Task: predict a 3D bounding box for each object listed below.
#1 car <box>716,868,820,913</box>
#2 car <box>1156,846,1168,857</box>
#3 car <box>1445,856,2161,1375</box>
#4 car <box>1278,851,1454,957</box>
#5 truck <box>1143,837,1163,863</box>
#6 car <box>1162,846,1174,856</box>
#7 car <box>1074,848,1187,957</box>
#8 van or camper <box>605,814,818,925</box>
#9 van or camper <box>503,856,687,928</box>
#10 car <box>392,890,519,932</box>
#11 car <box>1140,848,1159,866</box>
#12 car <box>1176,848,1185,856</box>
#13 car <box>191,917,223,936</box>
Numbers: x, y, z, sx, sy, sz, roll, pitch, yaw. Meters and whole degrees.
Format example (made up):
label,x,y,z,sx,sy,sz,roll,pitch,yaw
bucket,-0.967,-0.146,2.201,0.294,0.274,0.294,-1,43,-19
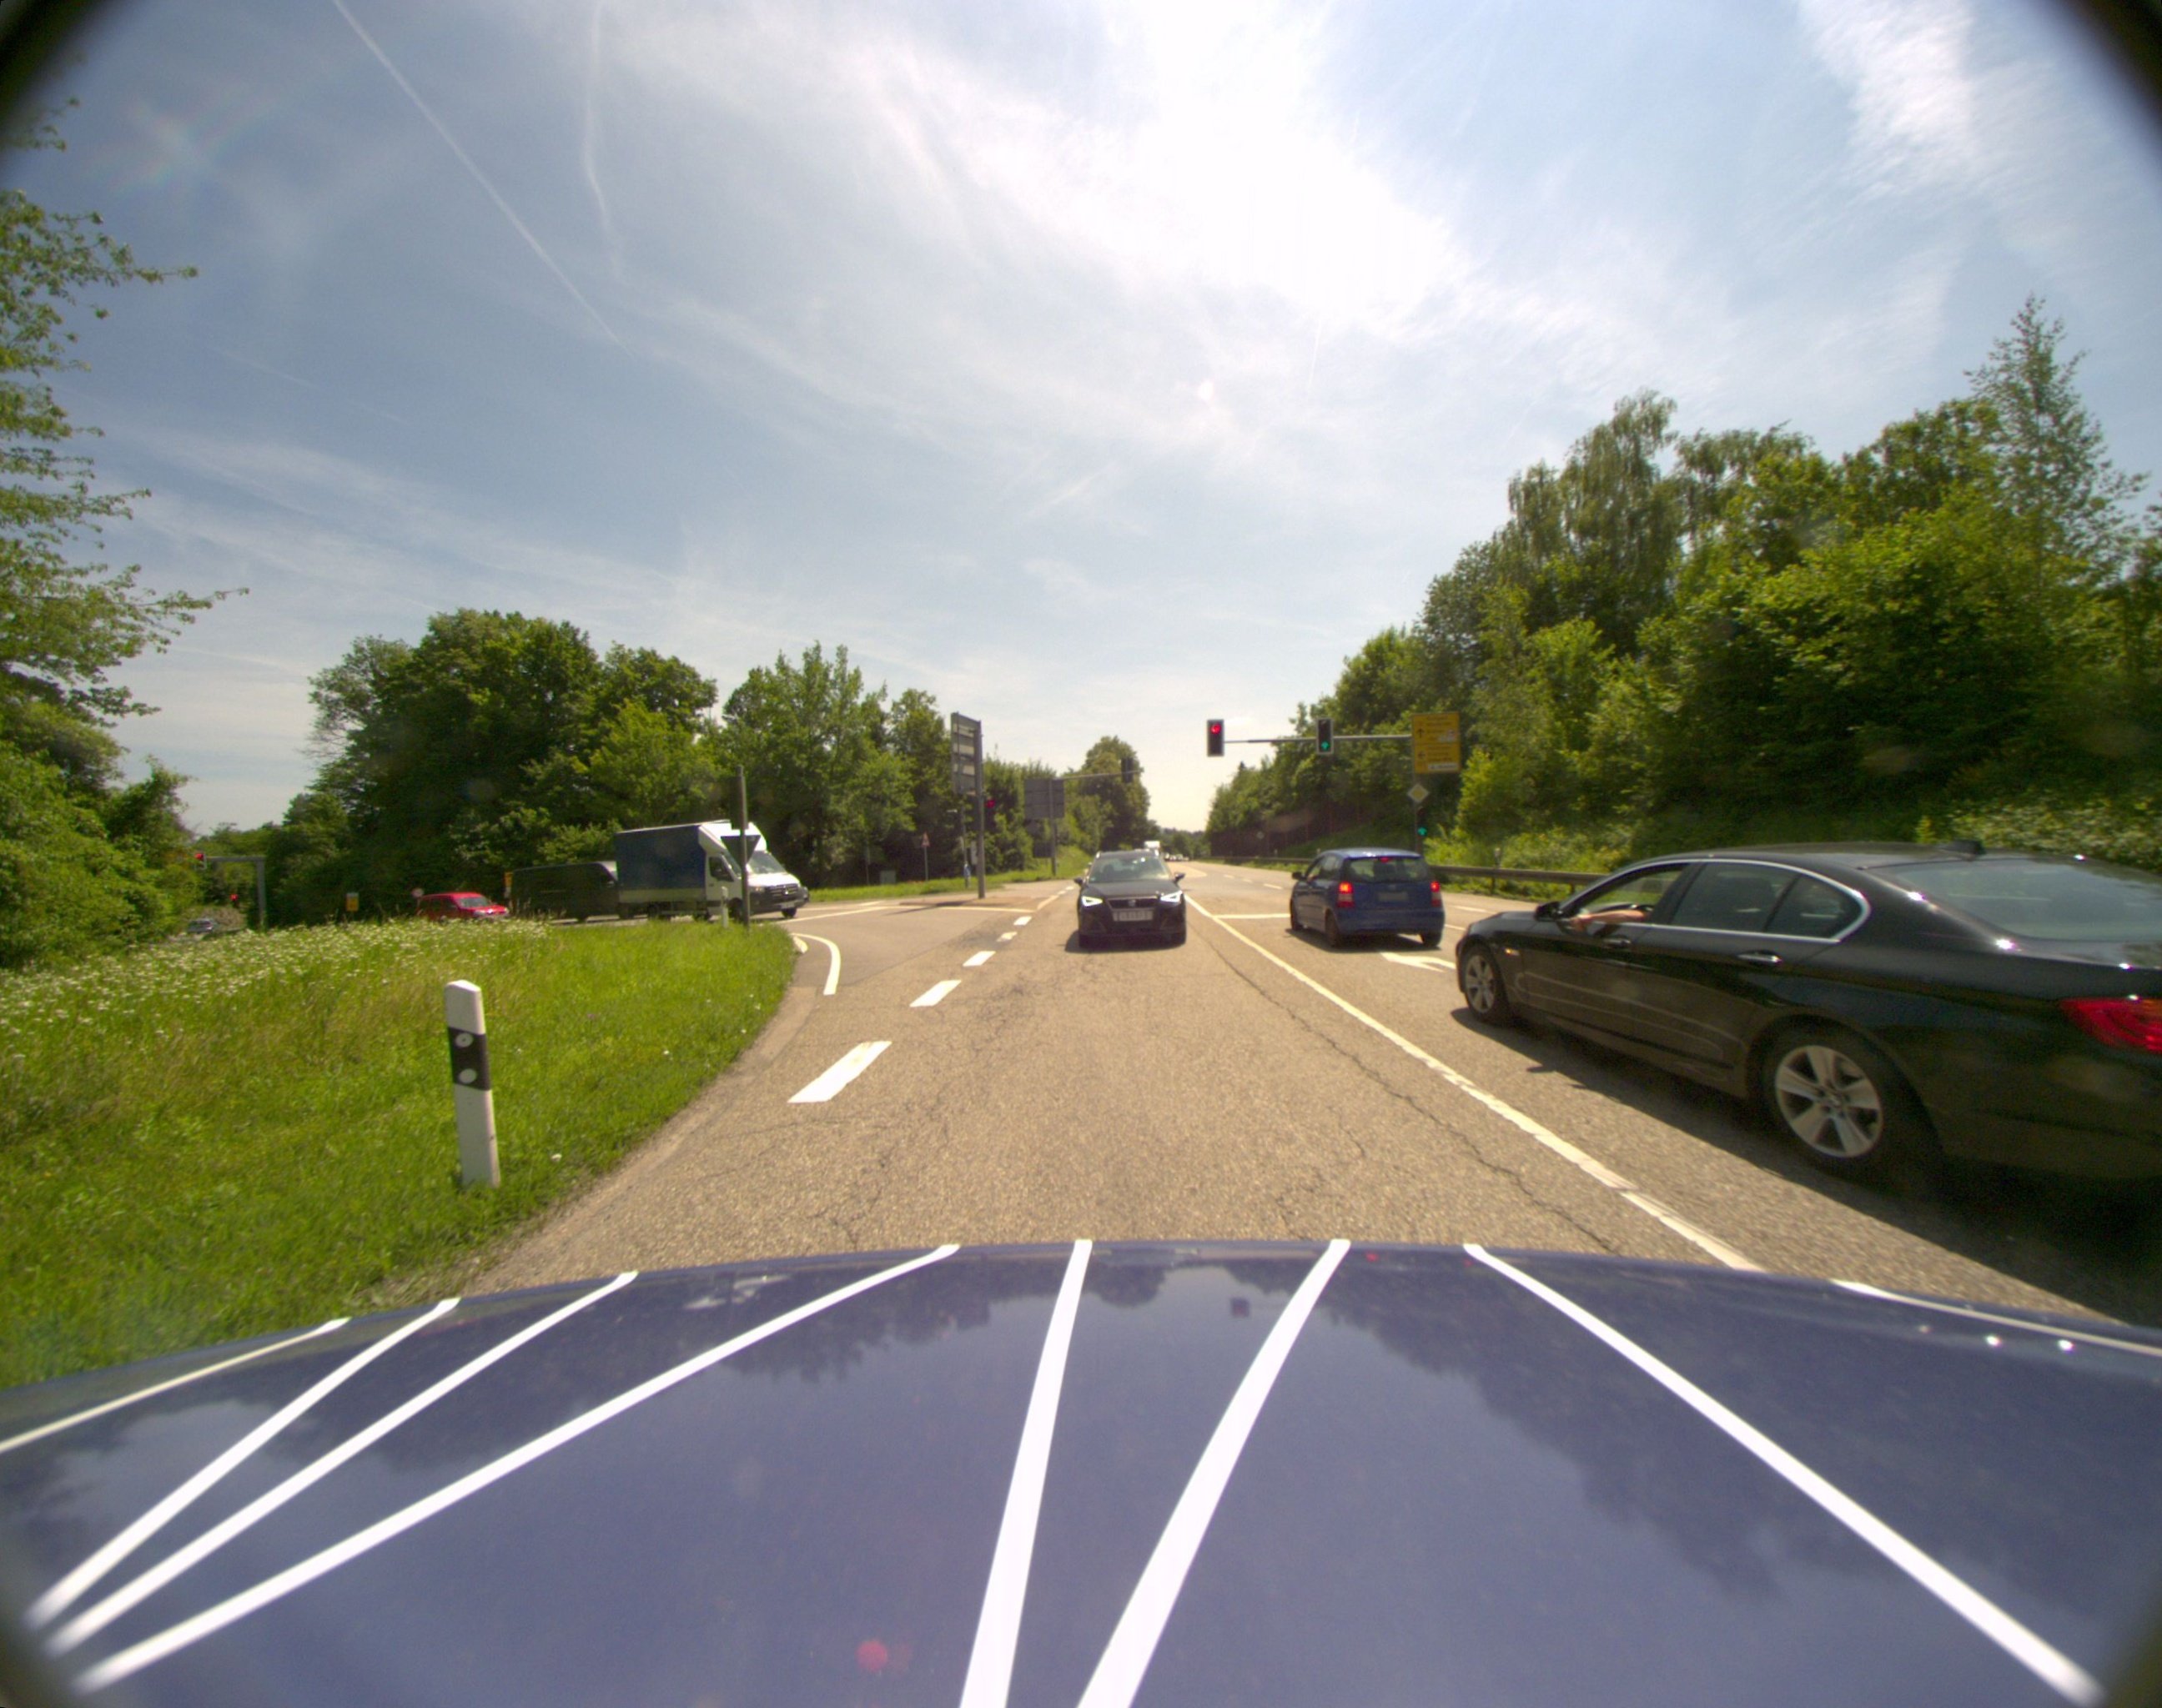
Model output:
label,x,y,z,sx,sy,sz,roll,pitch,yaw
car,-12.303,1.437,29.919,3.353,1.457,1.691,-4,1,15
car,13.767,-0.428,129.073,1.998,1.756,4.001,-2,1,6
car,4.097,0.776,4.413,1.786,1.438,4.640,-1,0,1
car,4.490,0.699,12.541,1.570,1.431,3.770,-1,0,2
truck,11.155,-0.539,118.125,2.839,3.794,8.453,-2,0,4
car,16.216,-0.525,141.672,1.998,1.756,4.001,-2,1,6
car,0.815,0.724,13.469,1.626,1.536,4.000,-3,1,2
van or camper,-11.998,0.561,24.469,7.236,3.194,2.107,-3,2,28
van or camper,-20.641,1.609,32.260,7.221,2.462,2.412,-4,0,18
car,-28.728,2.617,34.922,5.112,1.598,1.851,-3,1,17
car,8.054,0.339,88.837,1.998,2.002,4.001,-3,1,6
car,25.465,-0.503,194.288,1.998,1.756,4.001,-2,1,6
car,-89.785,7.463,78.068,3.989,1.652,2.003,-3,1,40
